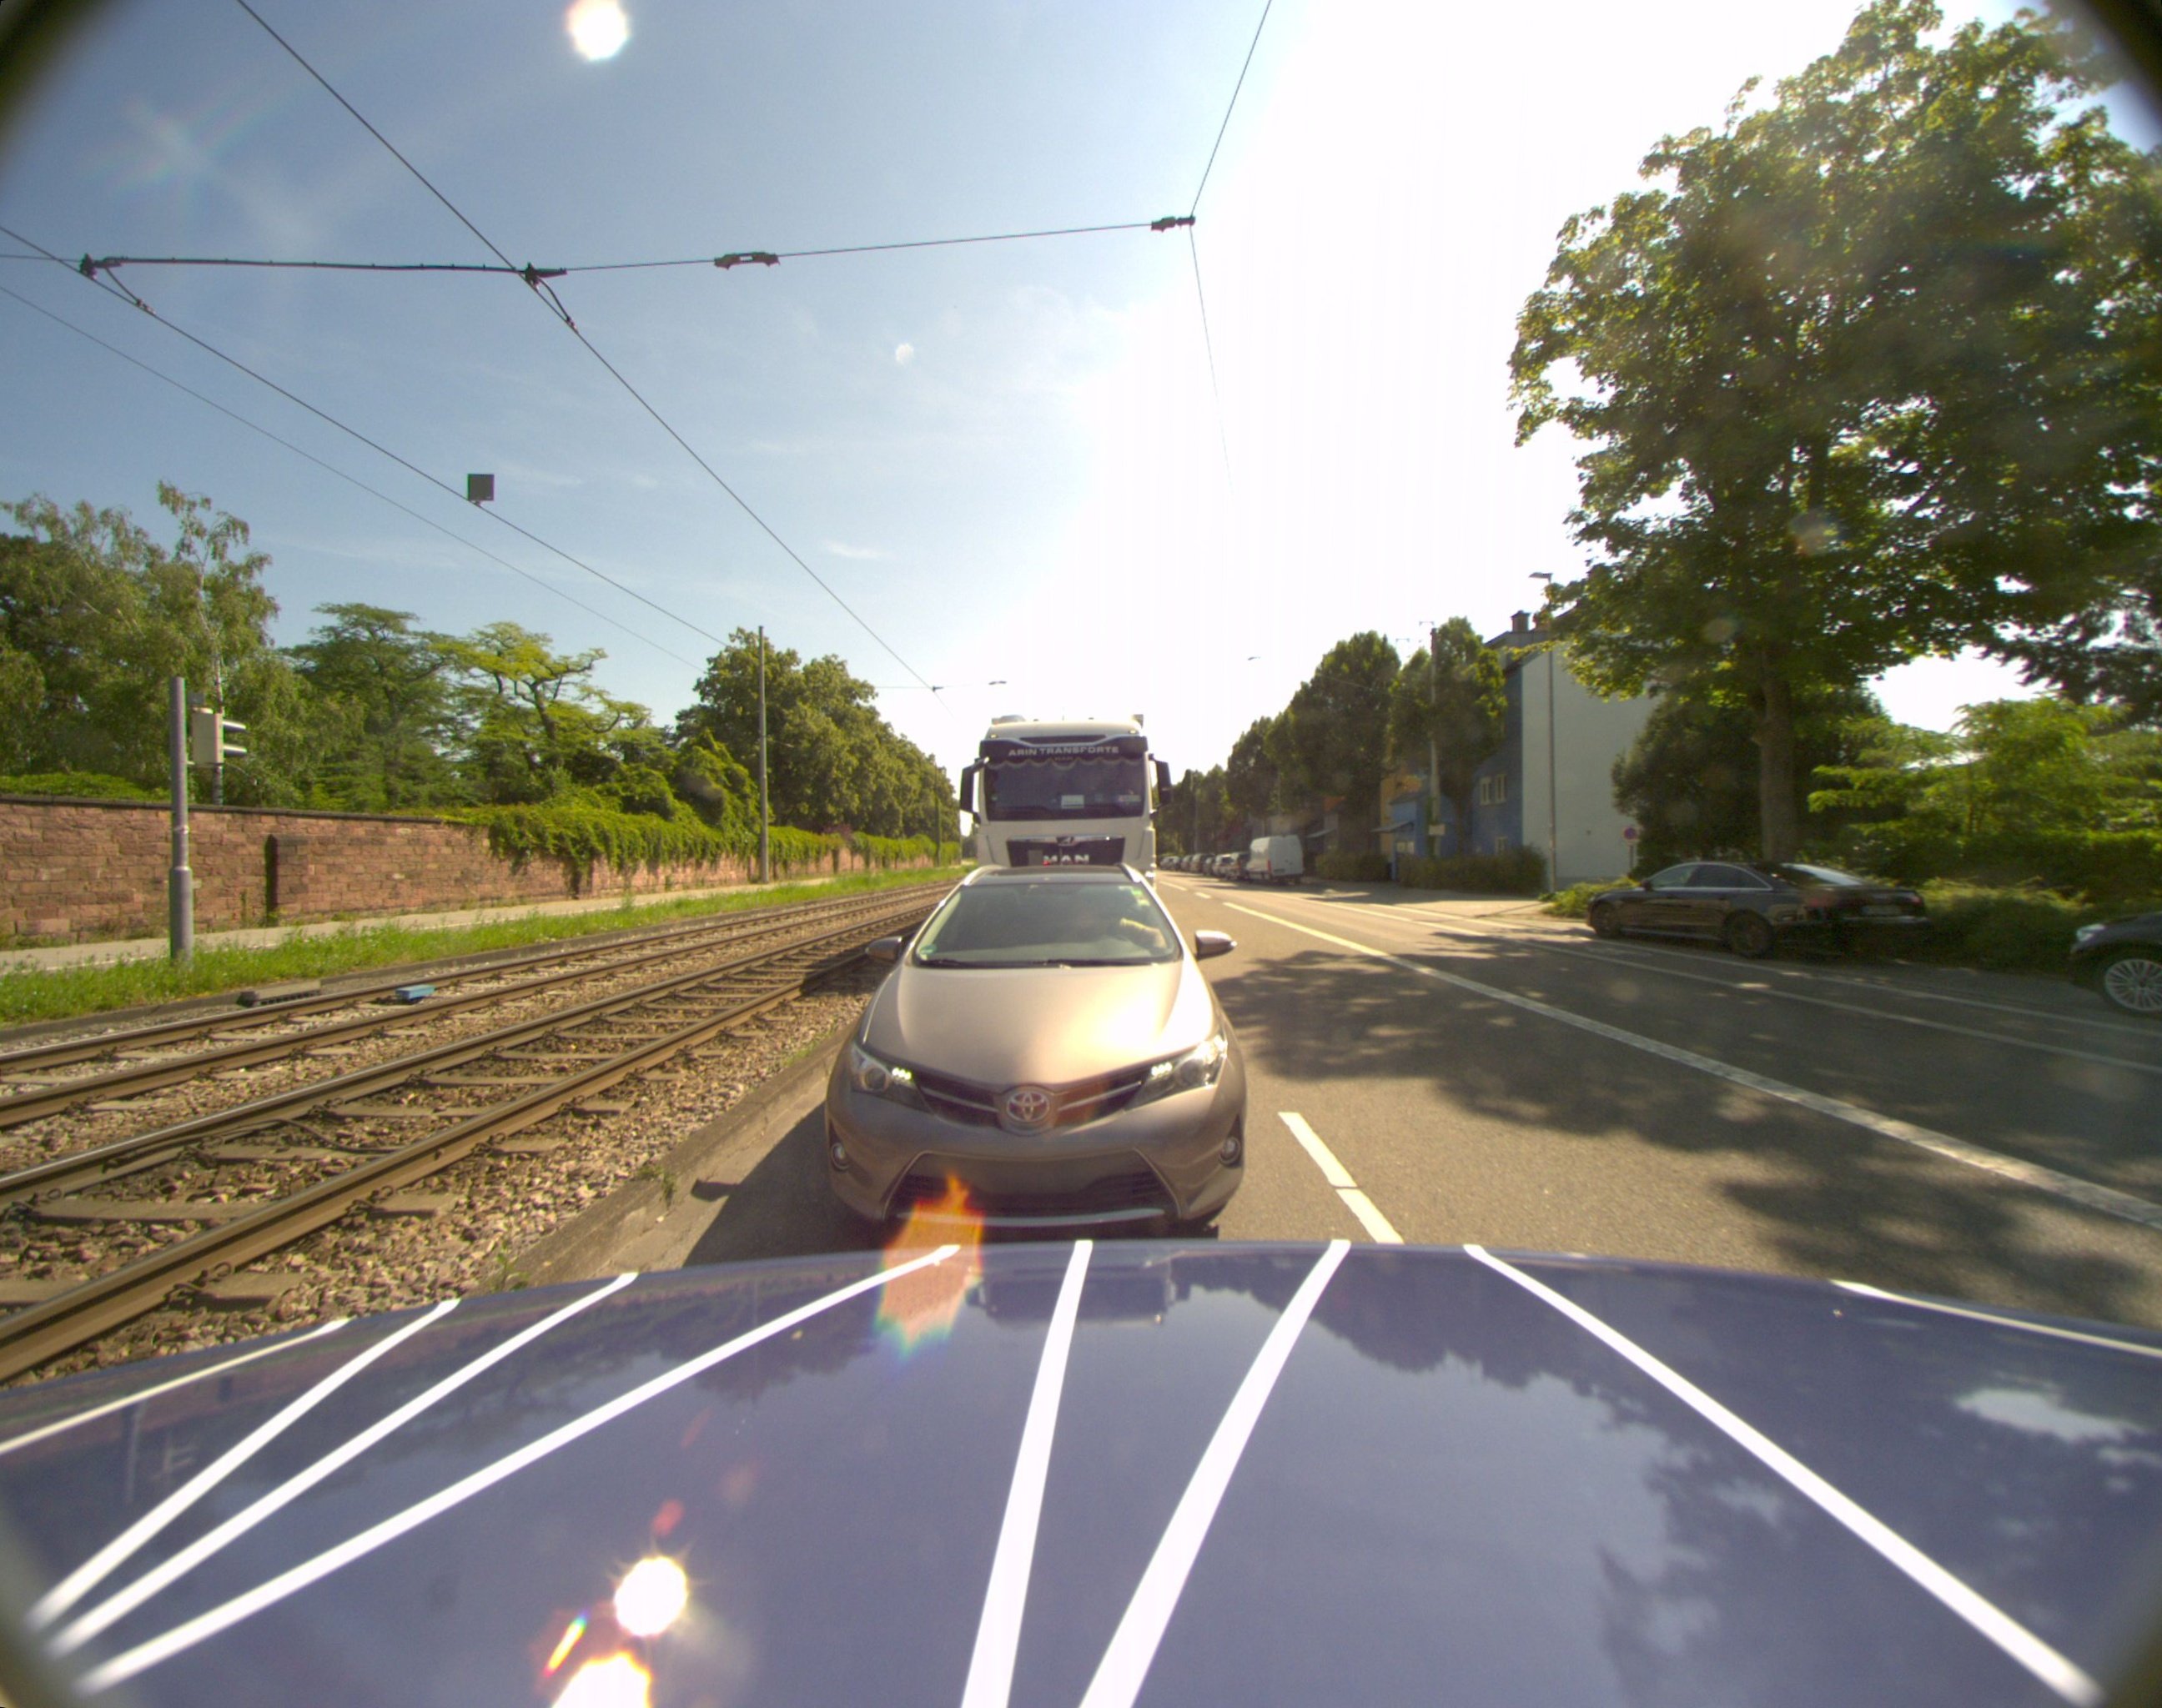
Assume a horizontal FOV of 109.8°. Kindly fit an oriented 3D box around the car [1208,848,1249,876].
[{"bbox_3d":[11.080,0.579,57.382,1.998,1.795,4.769,-6,0,0],"label":"car"}]

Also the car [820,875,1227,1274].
[{"bbox_3d":[-0.199,0.913,4.948,1.573,1.422,4.000,0,0,1],"label":"car"}]

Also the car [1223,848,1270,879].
[{"bbox_3d":[11.138,0.637,51.449,1.998,1.795,4.769,-6,0,0],"label":"car"}]

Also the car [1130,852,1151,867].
[{"bbox_3d":[8.274,0.798,105.571,1.999,1.795,5.111,-6,0,-4],"label":"car"}]

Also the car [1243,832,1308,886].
[{"bbox_3d":[10.911,0.252,43.153,1.998,2.678,6.214,-6,0,2],"label":"car"}]

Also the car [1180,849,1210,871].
[{"bbox_3d":[10.933,0.569,73.380,1.998,1.795,4.769,-6,0,0],"label":"car"}]

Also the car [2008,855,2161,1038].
[{"bbox_3d":[10.559,0.828,5.572,1.868,1.562,4.621,-2,0,0],"label":"car"}]

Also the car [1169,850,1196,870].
[{"bbox_3d":[10.569,0.635,79.169,1.998,1.795,4.769,-6,0,0],"label":"car"}]

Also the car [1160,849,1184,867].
[{"bbox_3d":[10.228,0.479,85.913,1.998,1.795,4.769,-6,0,0],"label":"car"}]

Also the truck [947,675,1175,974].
[{"bbox_3d":[-0.162,-0.402,17.272,2.935,3.856,14.912,0,0,1],"label":"truck"}]

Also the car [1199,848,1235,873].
[{"bbox_3d":[11.218,0.508,62.865,1.998,1.795,4.256,-6,0,0],"label":"car"}]

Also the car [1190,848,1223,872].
[{"bbox_3d":[11.127,0.531,67.676,1.998,1.795,4.769,-6,0,0],"label":"car"}]

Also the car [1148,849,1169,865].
[{"bbox_3d":[9.880,0.395,96.884,1.998,1.795,4.769,-6,0,0],"label":"car"}]

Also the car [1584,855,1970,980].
[{"bbox_3d":[10.563,0.826,12.162,1.868,1.562,4.621,-1,0,-2],"label":"car"}]

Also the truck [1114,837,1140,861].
[{"bbox_3d":[6.980,-0.673,116.109,2.704,3.263,6.724,-6,0,-5],"label":"truck"}]
